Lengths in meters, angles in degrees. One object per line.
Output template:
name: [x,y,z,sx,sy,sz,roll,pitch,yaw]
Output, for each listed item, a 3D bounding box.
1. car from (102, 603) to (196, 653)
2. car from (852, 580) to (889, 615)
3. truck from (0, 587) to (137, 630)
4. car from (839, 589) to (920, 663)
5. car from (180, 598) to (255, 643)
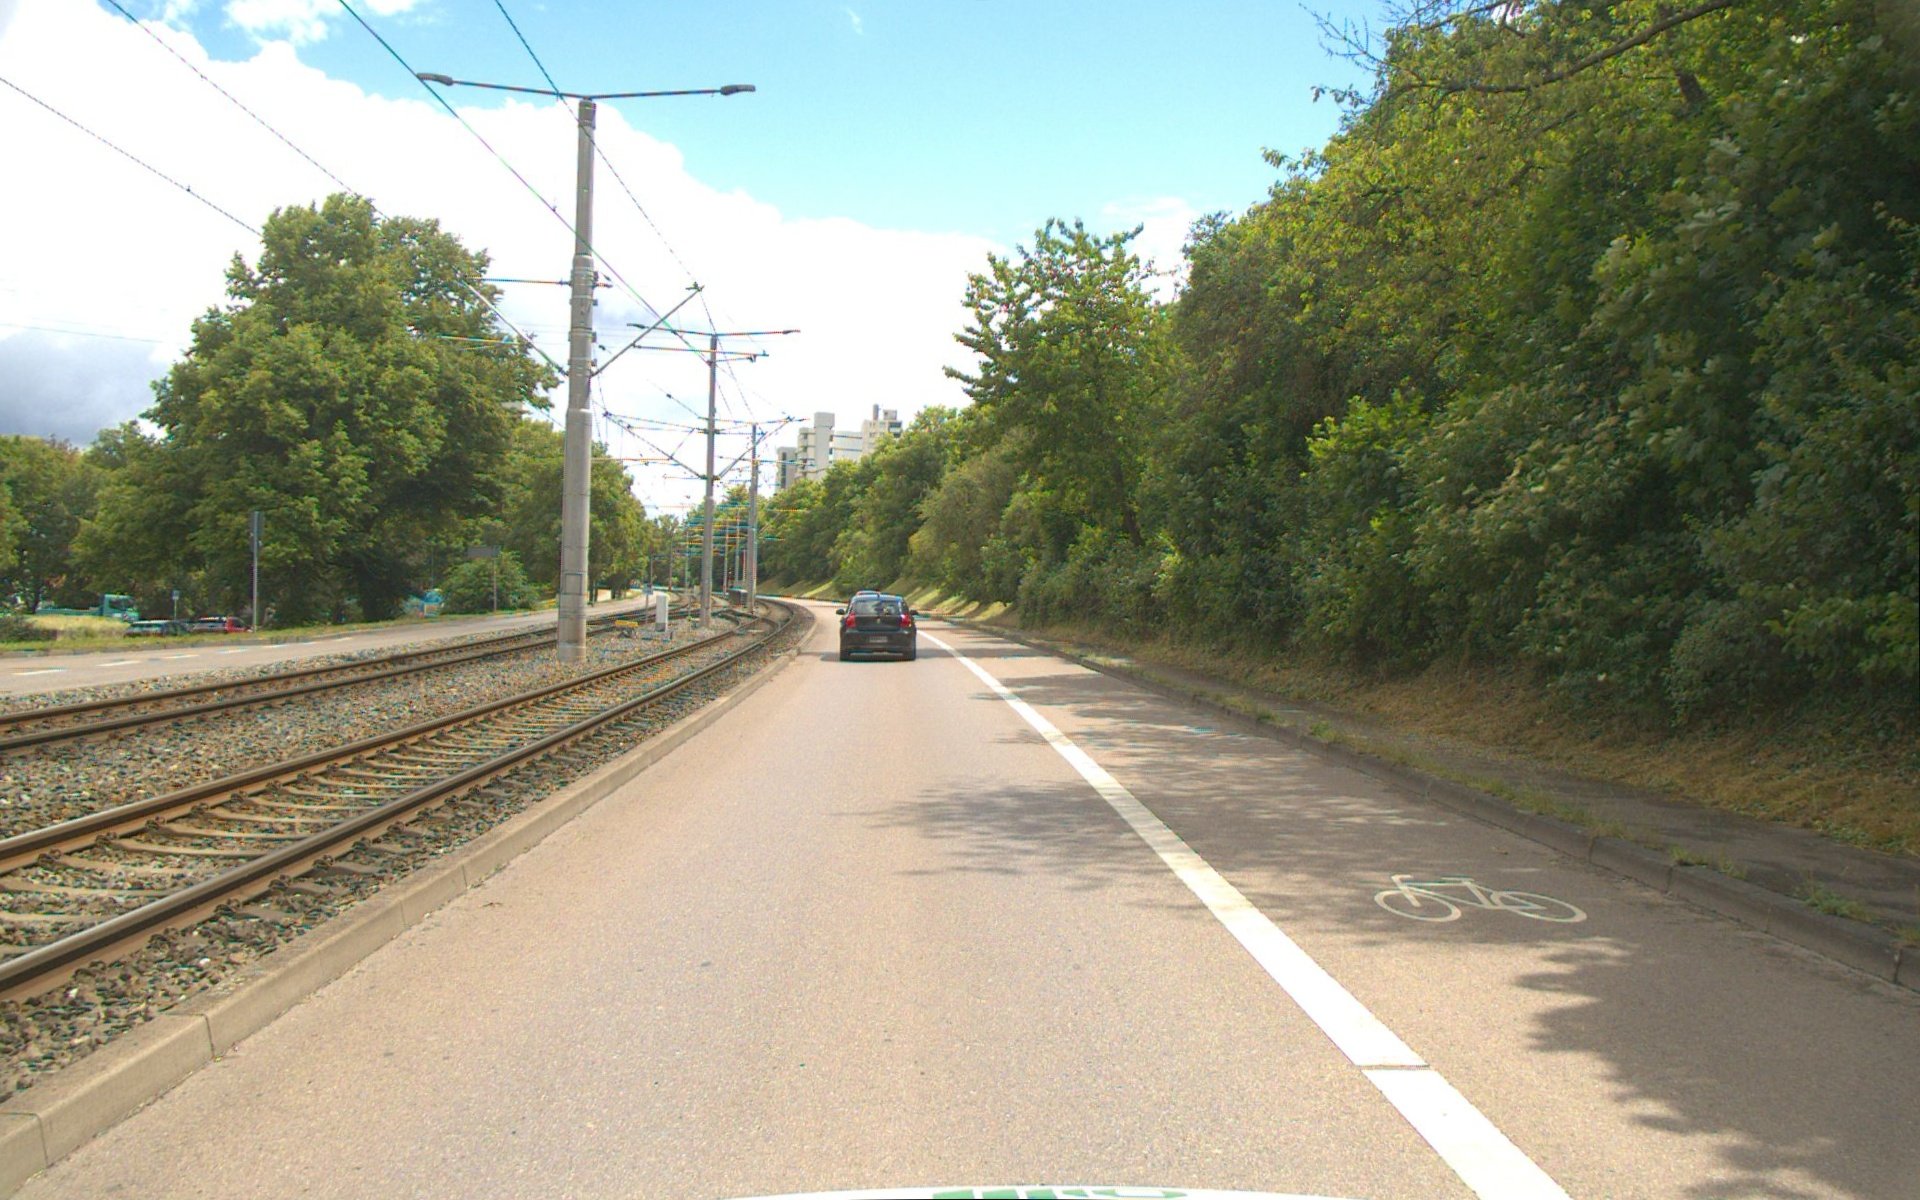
car: [-31.255,1.068,63.860,1.779,1.803,3.998,0,1,-3]
car: [-4.182,-0.112,77.347,1.592,1.469,3.419,3,-1,-2]
truck: [-60.375,0.579,110.778,8.933,2.742,2.607,-1,0,-13]
car: [-1.782,0.577,37.341,1.674,1.486,3.958,3,-1,-2]
car: [-31.826,0.859,70.994,1.781,1.803,3.995,0,1,-6]
